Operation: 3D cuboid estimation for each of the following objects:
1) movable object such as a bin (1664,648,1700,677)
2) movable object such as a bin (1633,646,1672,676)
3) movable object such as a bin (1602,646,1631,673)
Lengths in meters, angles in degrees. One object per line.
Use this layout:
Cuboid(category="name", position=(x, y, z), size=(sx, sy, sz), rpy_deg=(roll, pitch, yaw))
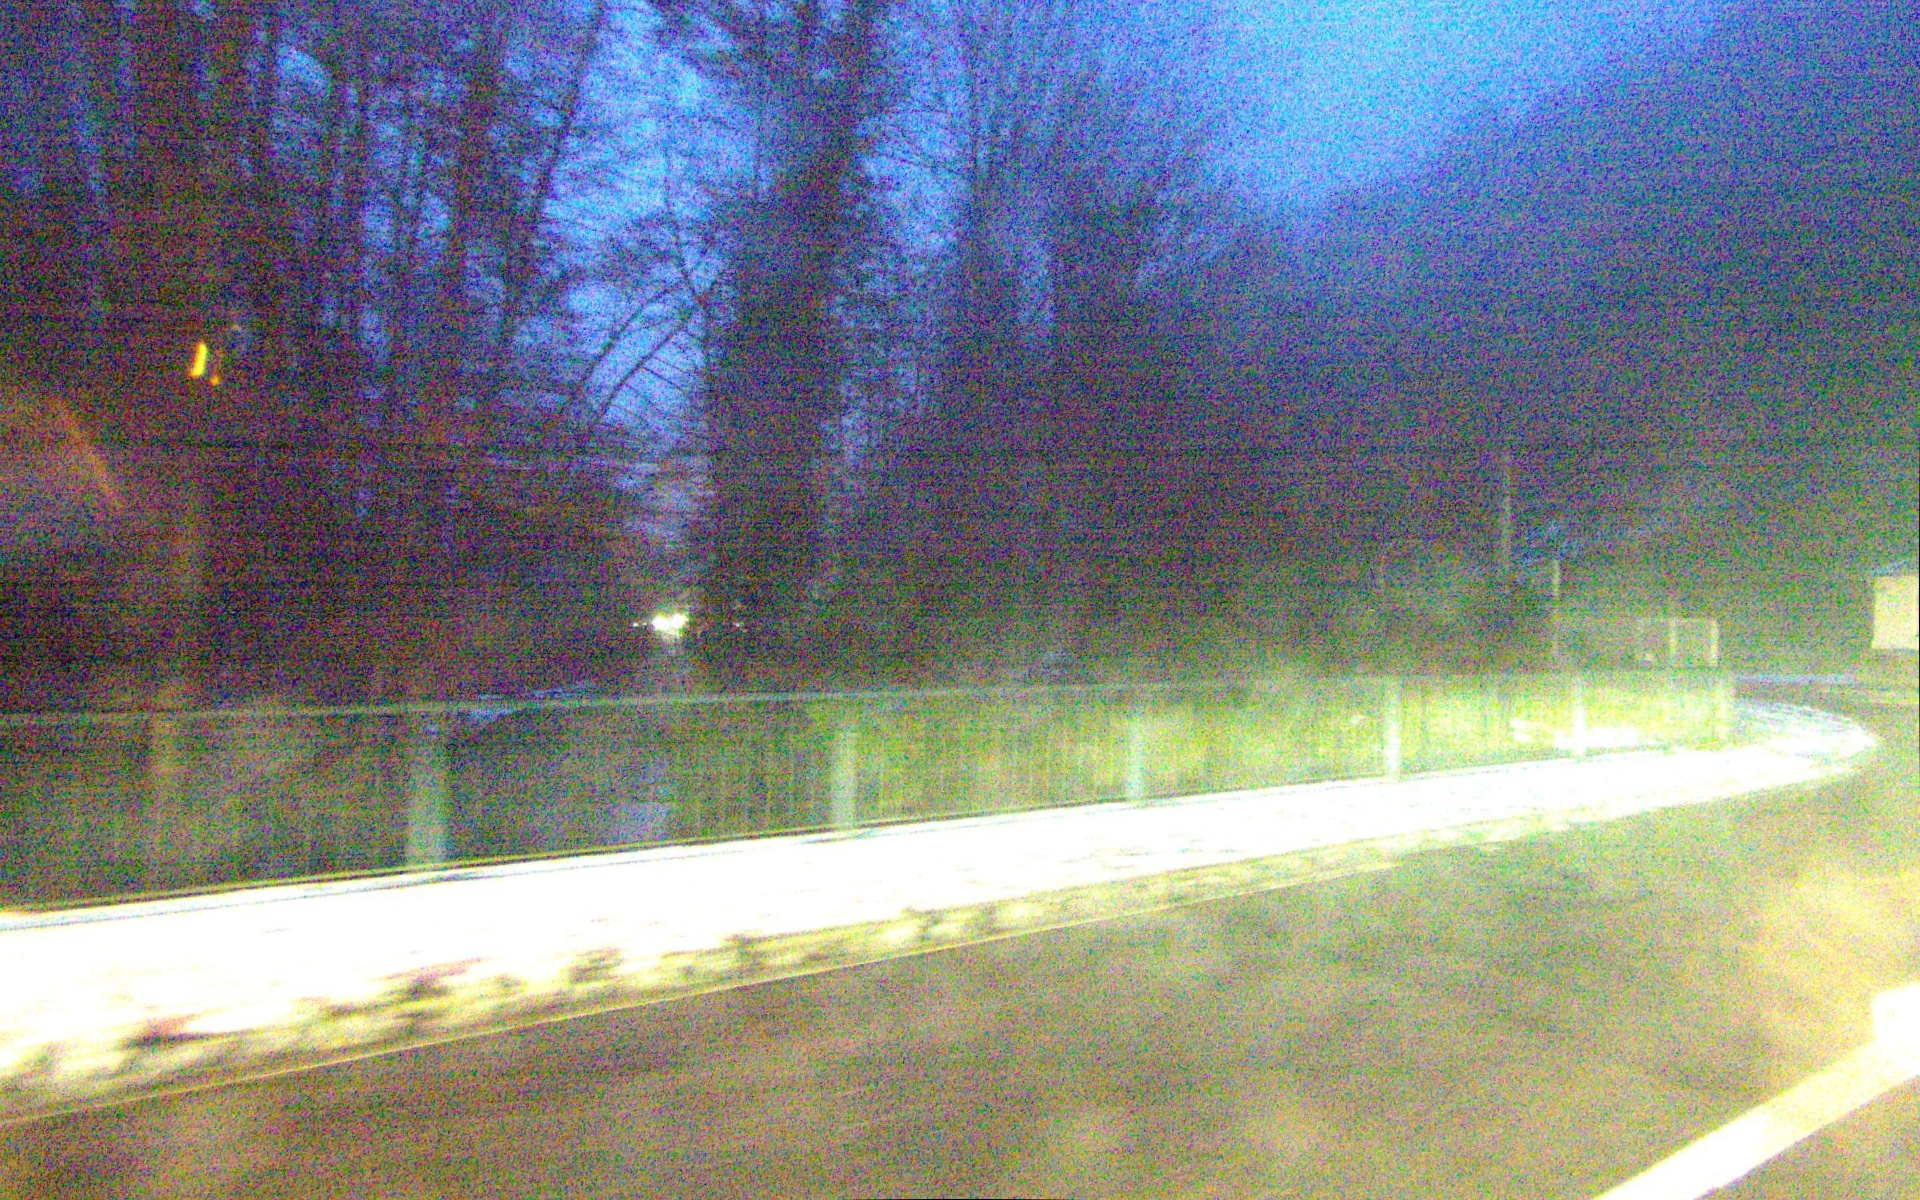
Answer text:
Cuboid(category="movable object such as a bin", position=(35.348, 3.048, 49.162), size=(1.298, 1.316, 1.245), rpy_deg=(2, 0, 40))
Cuboid(category="movable object such as a bin", position=(34.482, 3.024, 50.014), size=(1.373, 1.432, 1.243), rpy_deg=(2, 0, 45))
Cuboid(category="movable object such as a bin", position=(33.316, 3.004, 50.984), size=(1.212, 1.342, 1.149), rpy_deg=(-1, -1, 35))
